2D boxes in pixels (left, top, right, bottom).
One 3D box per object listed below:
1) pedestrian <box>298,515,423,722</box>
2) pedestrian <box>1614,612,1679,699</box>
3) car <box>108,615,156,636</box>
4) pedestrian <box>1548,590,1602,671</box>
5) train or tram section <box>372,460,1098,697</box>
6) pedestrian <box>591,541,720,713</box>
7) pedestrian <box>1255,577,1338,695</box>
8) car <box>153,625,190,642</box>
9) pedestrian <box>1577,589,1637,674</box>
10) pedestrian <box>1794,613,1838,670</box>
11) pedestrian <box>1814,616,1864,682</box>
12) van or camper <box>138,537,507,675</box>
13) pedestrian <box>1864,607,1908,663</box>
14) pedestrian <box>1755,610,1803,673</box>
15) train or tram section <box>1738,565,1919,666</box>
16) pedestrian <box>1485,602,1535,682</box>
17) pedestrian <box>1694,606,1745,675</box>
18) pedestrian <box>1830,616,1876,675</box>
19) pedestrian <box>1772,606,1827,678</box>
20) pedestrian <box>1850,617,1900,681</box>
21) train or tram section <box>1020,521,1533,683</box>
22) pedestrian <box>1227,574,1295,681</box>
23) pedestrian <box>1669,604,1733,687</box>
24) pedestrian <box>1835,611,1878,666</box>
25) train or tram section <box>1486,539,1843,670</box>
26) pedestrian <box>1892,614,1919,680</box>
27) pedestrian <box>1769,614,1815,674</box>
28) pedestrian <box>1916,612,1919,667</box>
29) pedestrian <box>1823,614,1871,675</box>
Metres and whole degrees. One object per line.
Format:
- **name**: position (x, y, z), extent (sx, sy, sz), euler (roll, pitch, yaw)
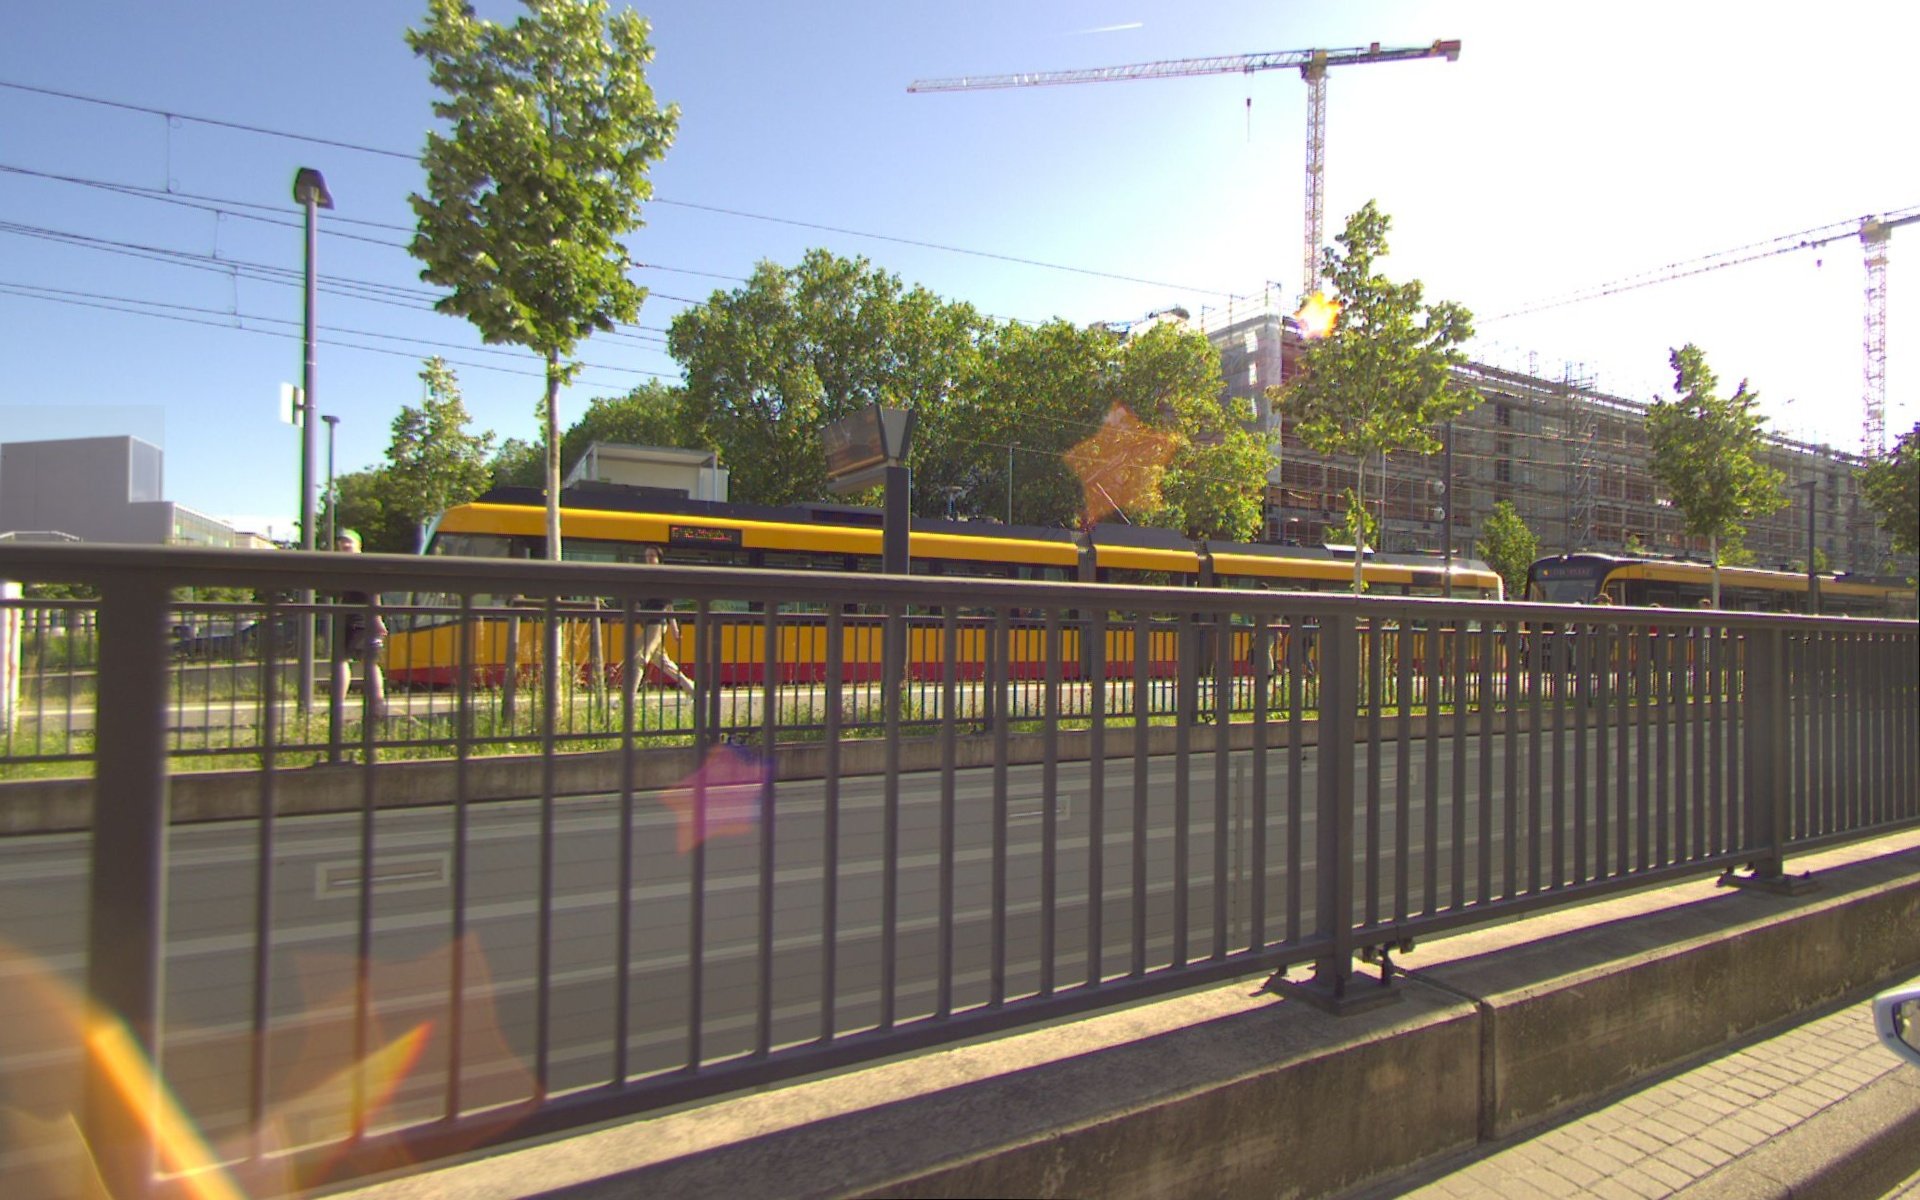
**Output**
- **pedestrian**: position (-5.520, 0.158, 9.264), extent (0.949, 1.799, 0.699), euler (0, 1, -33)
- **pedestrian**: position (13.421, 1.070, 19.648), extent (0.851, 1.650, 0.738), euler (2, -1, -29)
- **car**: position (-68.340, 2.090, 82.959), extent (1.972, 1.622, 3.977), euler (1, -1, -24)
- **pedestrian**: position (14.166, 0.702, 23.137), extent (1.062, 1.834, 0.668), euler (2, -1, -31)
- **train or tram section**: position (-3.445, -0.175, 18.787), extent (12.920, 3.354, 2.856), euler (2, 1, -31)
- **pedestrian**: position (-3.398, 0.280, 11.204), extent (1.176, 1.799, 0.869), euler (1, 1, -33)
- **pedestrian**: position (5.318, 0.544, 15.871), extent (0.968, 1.799, 0.786), euler (0, 1, -33)
- **car**: position (-78.678, 3.321, 100.279), extent (1.972, 1.622, 3.977), euler (1, -1, -24)
- **pedestrian**: position (14.471, 0.703, 22.458), extent (1.019, 1.834, 0.766), euler (2, -1, -31)
- **pedestrian**: position (25.028, 1.212, 29.374), extent (0.851, 1.650, 0.738), euler (2, -1, -29)
- **pedestrian**: position (22.672, 1.250, 25.904), extent (0.851, 1.650, 0.738), euler (2, -1, -29)
- **van or camper**: position (-15.236, 0.225, 24.645), extent (7.259, 2.976, 2.591), euler (2, -1, -32)
- **pedestrian**: position (27.613, 1.031, 29.964), extent (0.851, 1.650, 0.738), euler (2, -1, -29)
- **pedestrian**: position (21.945, 1.106, 26.921), extent (0.851, 1.650, 0.738), euler (2, -1, -29)
- **train or tram section**: position (37.630, 0.745, 39.765), extent (21.885, 3.323, 2.856), euler (2, 1, -31)
- **pedestrian**: position (10.838, 0.815, 19.787), extent (0.582, 1.533, 0.643), euler (0, 1, -33)
- **pedestrian**: position (19.141, 1.011, 25.320), extent (0.851, 1.717, 0.738), euler (2, -1, -29)
- **pedestrian**: position (25.522, 1.289, 28.710), extent (0.851, 1.650, 0.738), euler (2, -1, -29)
- **pedestrian**: position (19.665, 0.980, 23.542), extent (0.851, 1.650, 0.738), euler (2, -1, -29)
- **pedestrian**: position (23.835, 1.267, 26.176), extent (0.851, 1.650, 0.738), euler (2, -1, -29)
- **train or tram section**: position (8.923, 0.222, 26.099), extent (15.779, 3.366, 2.834), euler (2, 0, -31)
- **pedestrian**: position (5.209, 0.466, 17.404), extent (0.818, 1.799, 0.757), euler (0, 1, -32)
- **pedestrian**: position (17.244, 1.039, 23.386), extent (0.995, 1.875, 0.883), euler (2, -1, -30)
- **pedestrian**: position (27.309, 1.174, 30.599), extent (0.851, 1.650, 0.738), euler (2, -1, -29)
- **train or tram section**: position (21.757, 0.270, 30.369), extent (15.008, 3.323, 2.856), euler (2, 1, -31)
- **pedestrian**: position (24.339, 1.200, 25.535), extent (0.851, 1.650, 0.738), euler (2, -1, -29)
- **pedestrian**: position (23.340, 1.231, 28.169), extent (0.851, 1.650, 0.738), euler (2, -1, -29)
- **pedestrian**: position (29.467, 1.205, 30.258), extent (0.851, 1.650, 0.738), euler (2, -1, -29)
- **pedestrian**: position (24.529, 1.226, 27.787), extent (0.935, 1.650, 0.738), euler (2, -1, -29)
